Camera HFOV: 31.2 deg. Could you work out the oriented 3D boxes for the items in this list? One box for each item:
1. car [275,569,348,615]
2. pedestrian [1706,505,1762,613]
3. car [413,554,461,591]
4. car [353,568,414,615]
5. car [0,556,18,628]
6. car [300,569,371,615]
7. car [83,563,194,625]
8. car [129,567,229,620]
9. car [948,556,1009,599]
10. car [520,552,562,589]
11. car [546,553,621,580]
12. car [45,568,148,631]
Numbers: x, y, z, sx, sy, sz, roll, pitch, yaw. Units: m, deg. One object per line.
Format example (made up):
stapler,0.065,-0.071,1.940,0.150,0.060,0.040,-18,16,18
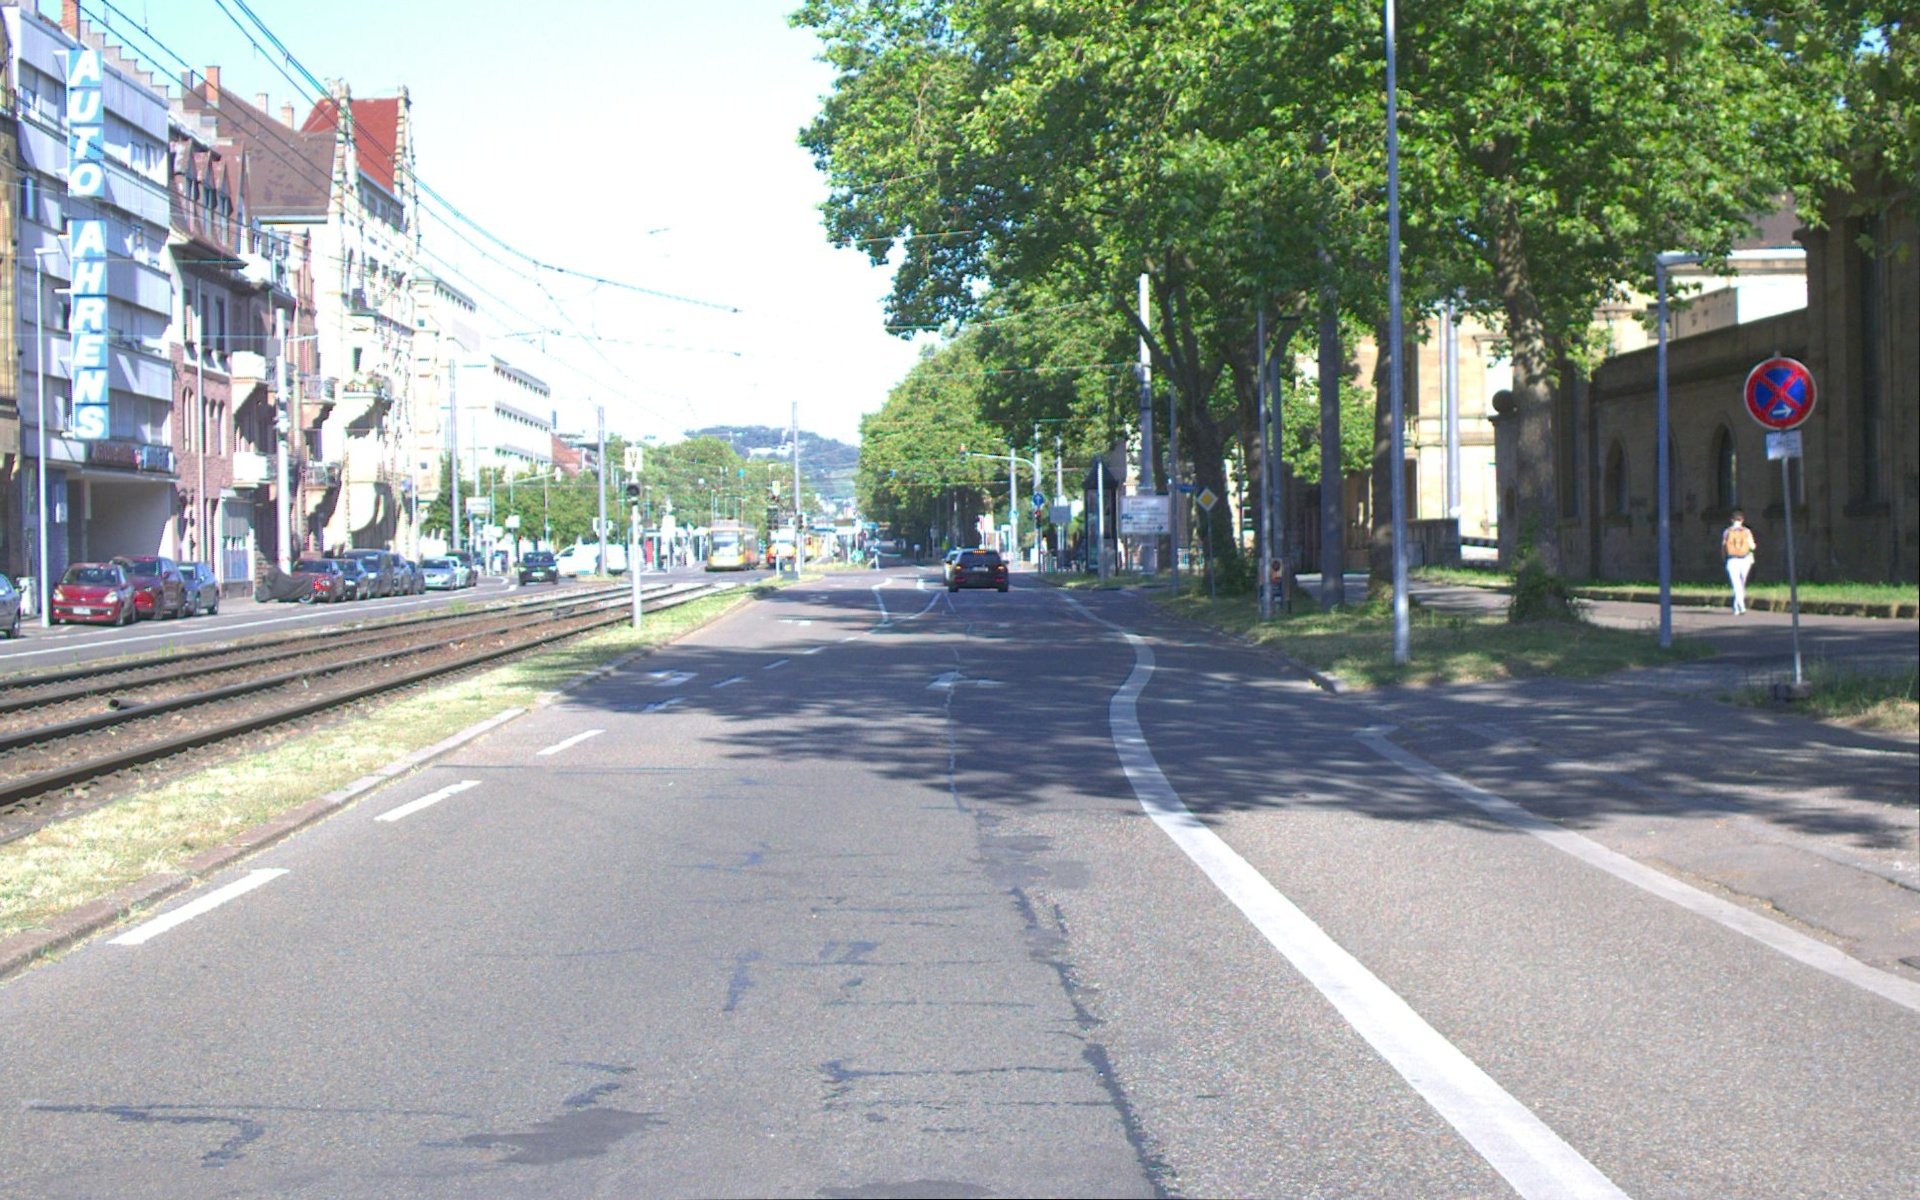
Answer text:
car,-21.928,-0.282,116.386,1.794,1.455,4.267,2,1,-2
pedestrian,12.474,-0.661,55.412,0.608,1.676,0.636,-5,1,-3
car,-22.790,-1.203,149.848,1.794,1.505,4.001,2,1,-6
car,-22.065,-0.341,131.644,1.686,1.646,4.200,2,1,-2
car,-20.757,-0.149,70.788,1.635,1.464,4.159,1,1,-1
car,-22.011,-0.309,121.268,1.794,1.505,4.000,2,1,-2
car,-21.122,-0.171,88.538,1.833,1.553,4.353,1,0,-1
car,-21.264,-0.193,93.765,1.833,1.386,4.682,0,1,-2
car,0.586,-0.748,112.414,1.833,1.386,4.159,0,1,-2
car,-19.530,-1.385,160.175,1.635,1.596,4.160,-2,1,-3
car,-21.987,-1.979,200.826,3.993,1.505,1.797,1,0,28
car,-20.812,-0.030,82.972,1.833,1.386,4.036,2,0,-6
